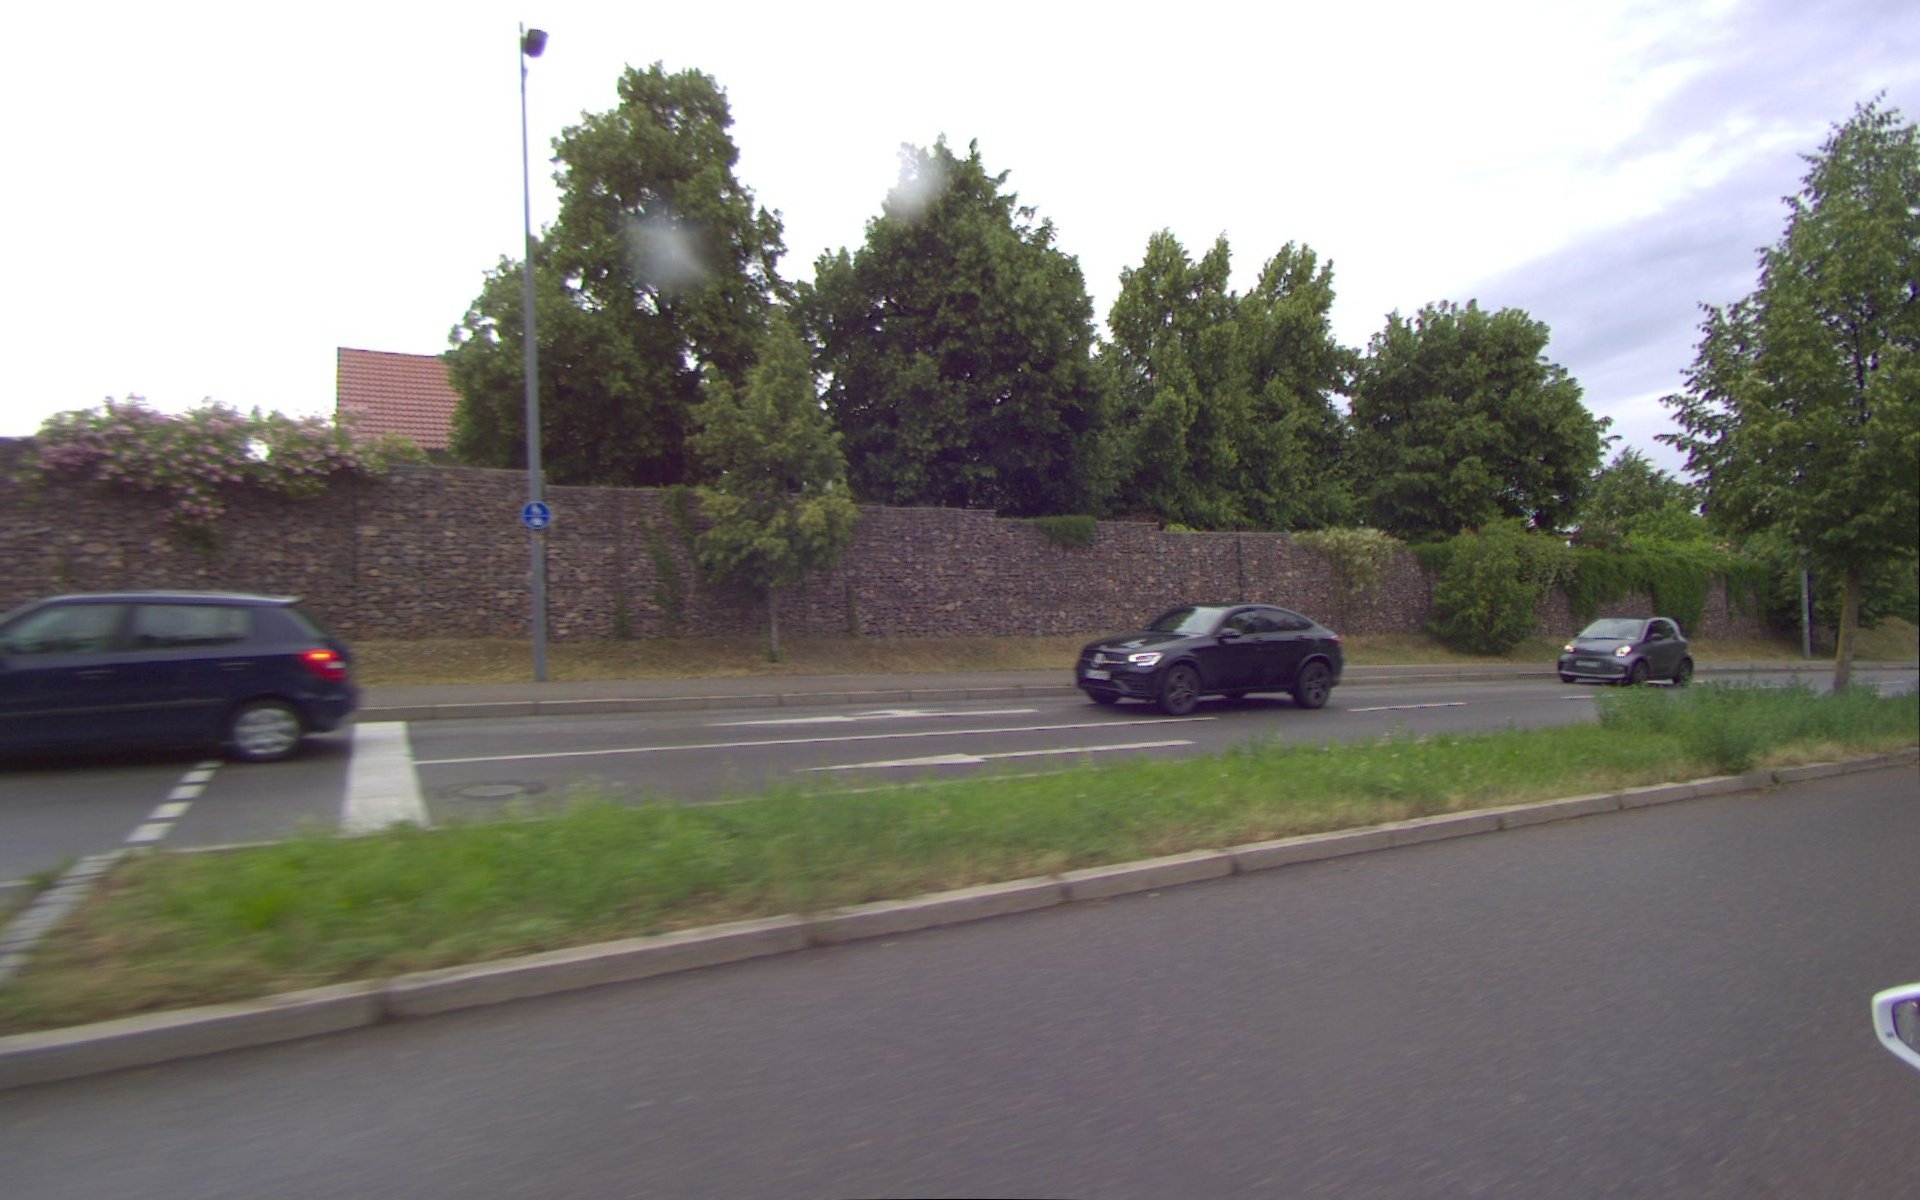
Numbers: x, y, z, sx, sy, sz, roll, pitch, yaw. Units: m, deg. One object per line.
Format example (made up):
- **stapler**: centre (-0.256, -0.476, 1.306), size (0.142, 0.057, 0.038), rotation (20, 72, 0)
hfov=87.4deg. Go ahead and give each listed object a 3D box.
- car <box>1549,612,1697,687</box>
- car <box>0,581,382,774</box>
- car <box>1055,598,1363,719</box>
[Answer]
- **car**: centre (14.974, 1.068, 22.689), size (2.881, 1.560, 1.679), rotation (0, 0, -29)
- **car**: centre (-7.396, 0.619, 8.830), size (3.952, 1.509, 1.591), rotation (1, -1, -30)
- **car**: centre (3.943, 0.843, 15.647), size (4.712, 1.616, 1.871), rotation (1, 0, -31)
